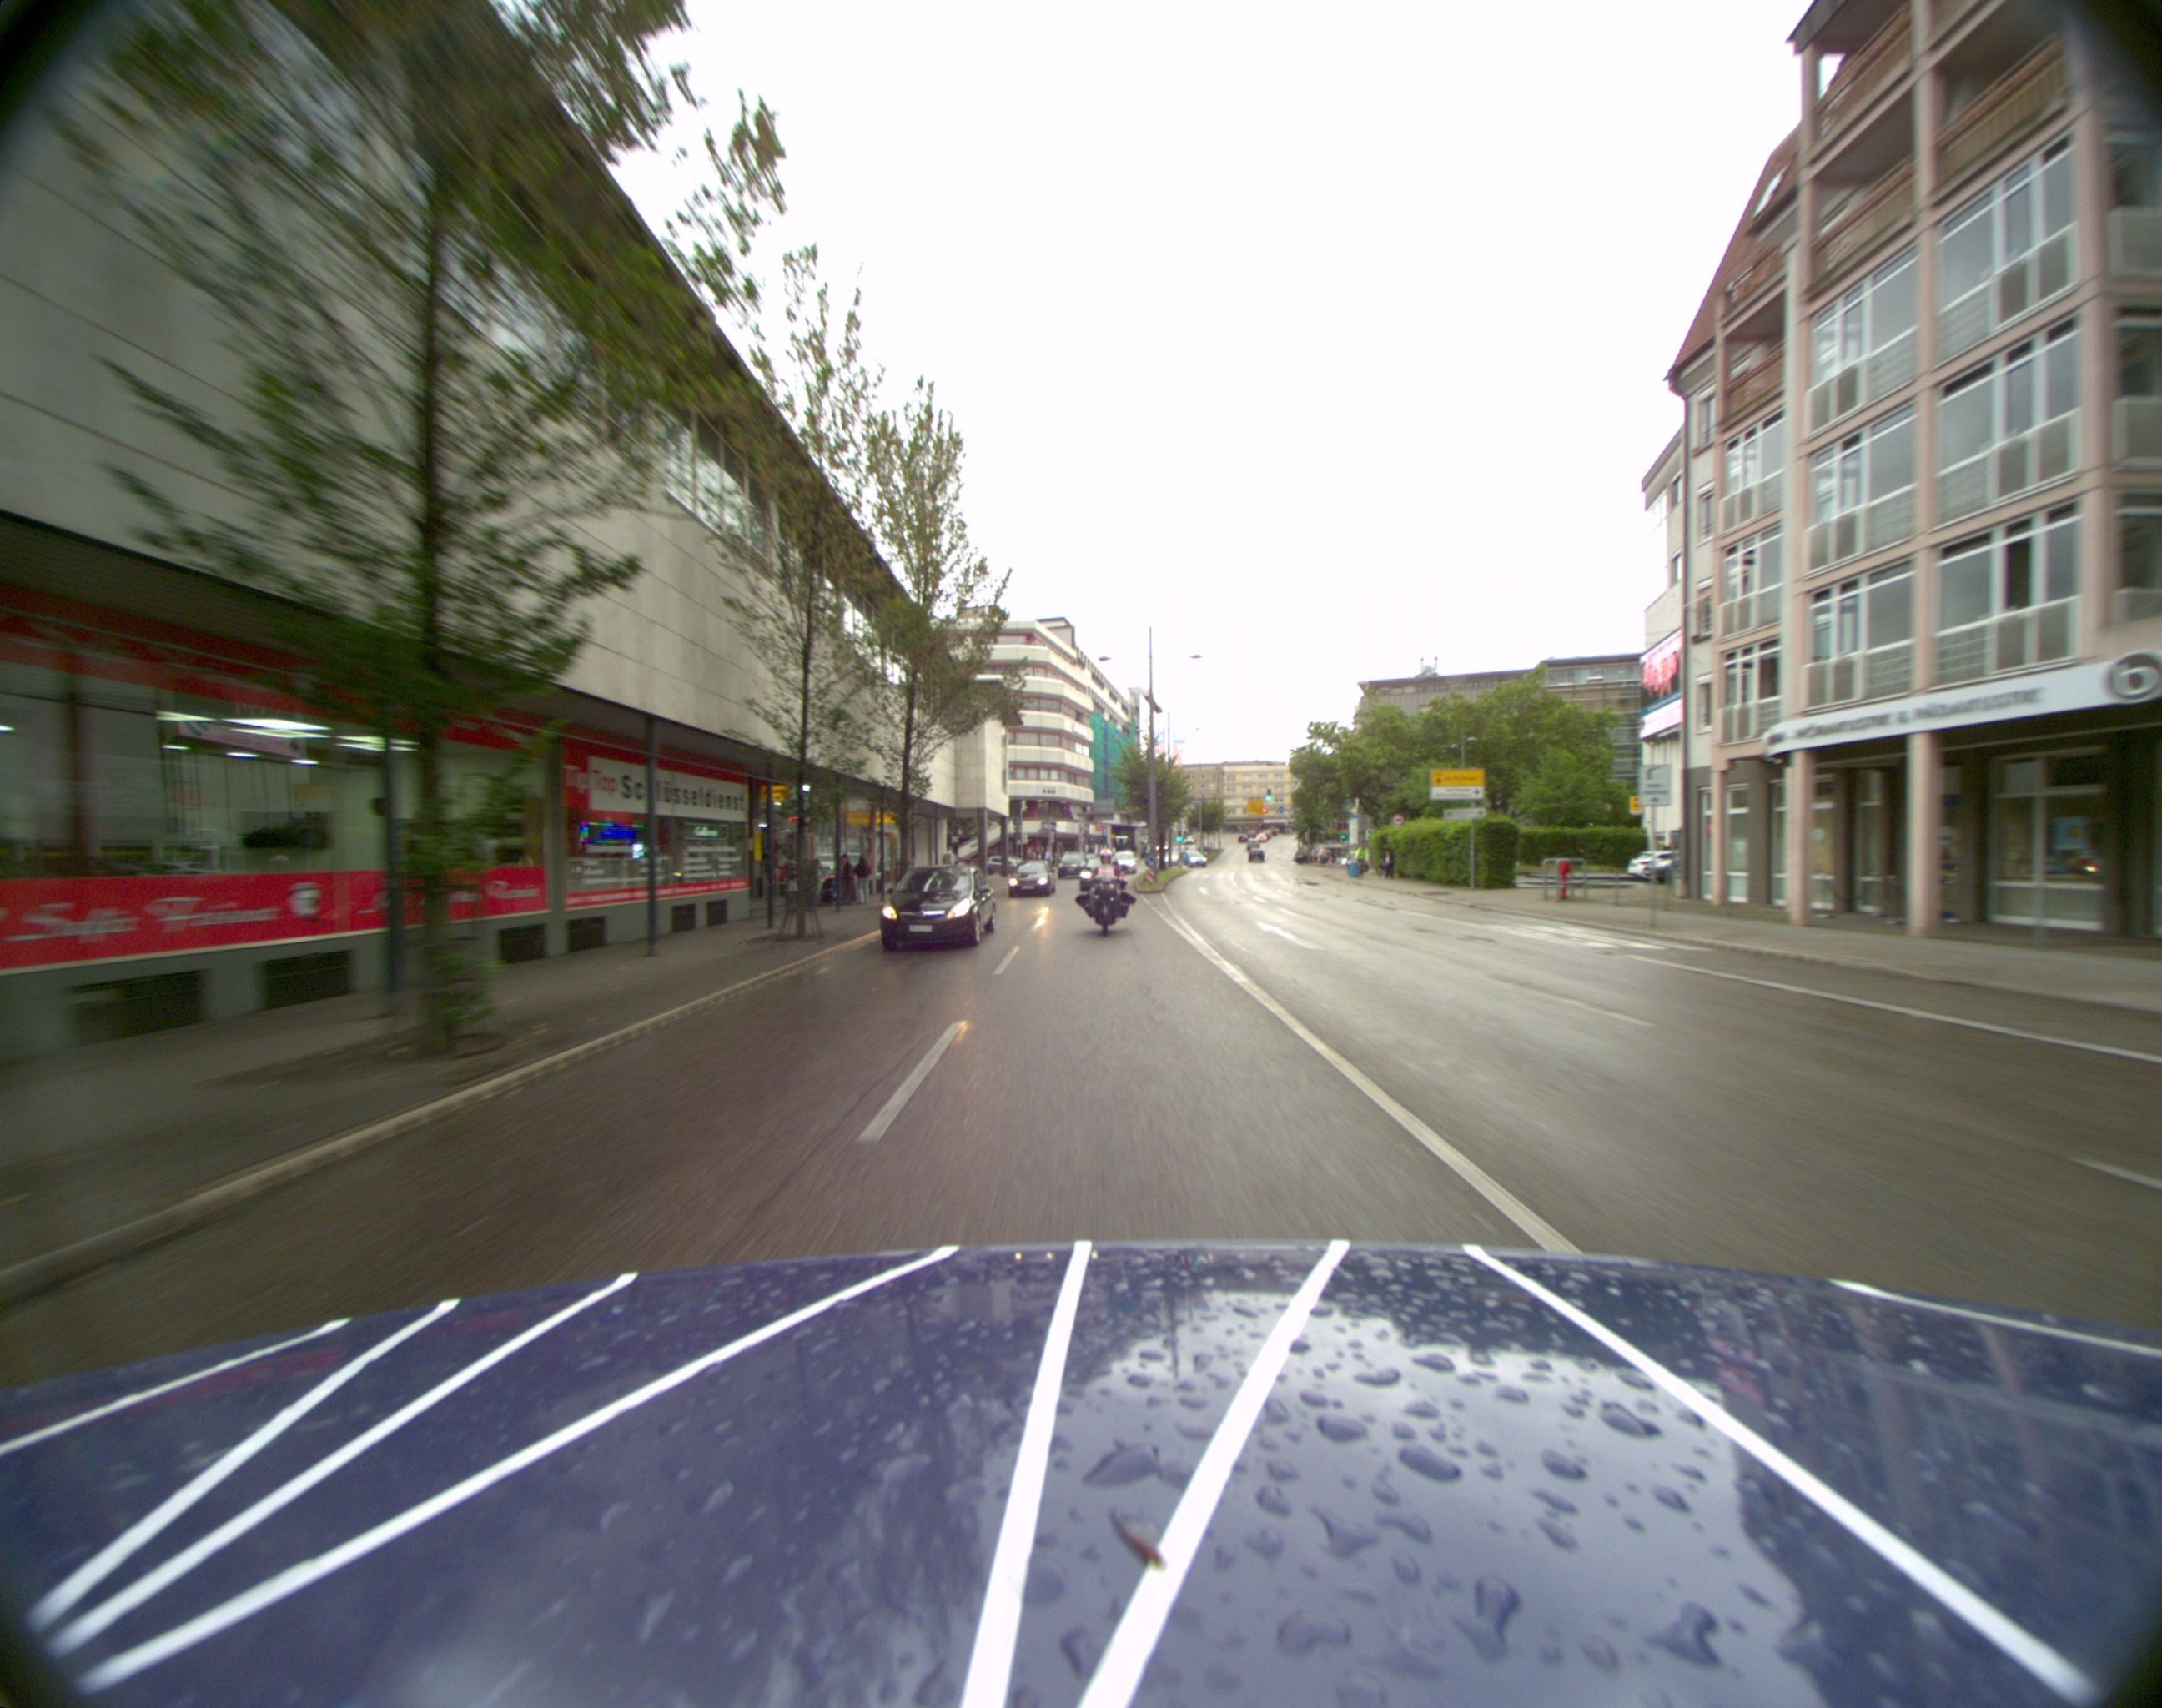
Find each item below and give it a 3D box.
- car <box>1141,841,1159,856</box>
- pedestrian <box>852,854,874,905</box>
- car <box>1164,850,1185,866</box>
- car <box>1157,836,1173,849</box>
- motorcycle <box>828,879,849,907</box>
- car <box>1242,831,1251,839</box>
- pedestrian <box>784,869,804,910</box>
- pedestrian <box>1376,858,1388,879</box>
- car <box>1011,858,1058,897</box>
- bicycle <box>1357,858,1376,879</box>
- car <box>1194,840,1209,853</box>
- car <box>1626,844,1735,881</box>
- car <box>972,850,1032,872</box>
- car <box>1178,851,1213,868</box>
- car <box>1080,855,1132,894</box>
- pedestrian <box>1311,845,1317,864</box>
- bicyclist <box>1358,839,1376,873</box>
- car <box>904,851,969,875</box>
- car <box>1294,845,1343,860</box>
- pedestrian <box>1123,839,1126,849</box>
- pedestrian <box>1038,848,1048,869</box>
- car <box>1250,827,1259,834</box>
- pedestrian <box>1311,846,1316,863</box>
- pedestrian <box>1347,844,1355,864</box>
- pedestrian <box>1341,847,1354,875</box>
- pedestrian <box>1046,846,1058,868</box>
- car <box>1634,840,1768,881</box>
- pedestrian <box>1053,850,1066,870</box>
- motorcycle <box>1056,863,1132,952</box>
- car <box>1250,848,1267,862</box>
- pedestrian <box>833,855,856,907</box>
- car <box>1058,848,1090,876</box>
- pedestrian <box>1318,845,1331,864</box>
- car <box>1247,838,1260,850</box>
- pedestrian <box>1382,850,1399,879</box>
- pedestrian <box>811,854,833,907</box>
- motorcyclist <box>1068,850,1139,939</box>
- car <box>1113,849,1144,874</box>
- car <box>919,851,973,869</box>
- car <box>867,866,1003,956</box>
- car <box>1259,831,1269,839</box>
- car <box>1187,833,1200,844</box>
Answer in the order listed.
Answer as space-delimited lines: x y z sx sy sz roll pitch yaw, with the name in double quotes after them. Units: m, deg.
9.375 -0.775 103.323 1.830 1.727 4.002 0 4 15 "car"
-6.755 0.785 23.518 0.510 1.557 0.429 -1 1 -37 "pedestrian"
9.435 0.403 76.248 1.768 1.401 4.002 -2 2 11 "car"
12.857 -1.810 116.164 1.830 1.727 4.002 0 4 15 "car"
-7.297 1.174 22.914 0.325 0.799 0.920 0 0 1 "motorcycle"
29.983 -3.415 137.647 1.625 1.547 3.662 0 1 12 "car"
-8.173 0.997 21.638 0.431 1.129 0.508 -1 1 -34 "pedestrian"
16.560 0.815 41.843 0.469 1.144 0.502 -1 1 5 "pedestrian"
-1.860 0.919 31.094 1.596 1.432 3.627 -1 0 1 "car"
16.058 0.780 42.722 0.651 1.104 2.059 -1 1 11 "bicycle"
18.014 -1.105 113.123 1.830 1.727 4.002 0 4 15 "car"
27.547 0.386 35.016 3.592 1.567 1.602 -2 1 19 "car"
-5.911 0.502 56.631 3.989 1.468 2.003 -1 2 32 "car"
10.220 0.494 68.340 1.702 1.465 3.685 0 0 -17 "car"
1.177 0.839 33.237 1.937 1.511 4.470 -1 0 6 "car"
23.242 0.034 75.795 0.447 1.827 0.676 -1 4 9 "pedestrian"
16.023 0.107 42.578 0.793 1.879 0.954 -1 1 11 "bicyclist"
-11.250 0.665 59.419 4.604 1.750 1.856 -1 2 4 "car"
24.827 -0.184 79.551 1.937 1.388 4.413 -2 3 -44 "car"
6.668 -1.529 116.350 0.429 1.481 0.523 -2 4 -14 "pedestrian"
-3.251 0.389 64.957 0.623 1.764 0.678 -1 4 20 "pedestrian"
35.286 -4.794 154.176 1.716 1.471 3.960 1 3 13 "car"
23.429 0.040 76.714 0.412 1.753 0.677 -1 0 12 "pedestrian"
24.637 0.027 69.430 0.527 1.754 0.593 -4 2 12 "pedestrian"
16.668 0.420 47.502 0.630 1.754 0.528 -1 1 0 "pedestrian"
-2.474 0.282 64.954 0.623 1.837 0.848 -1 4 20 "pedestrian"
26.597 0.272 32.783 4.053 1.567 1.957 -2 1 23 "car"
-1.972 0.525 70.511 0.896 1.770 0.806 5 5 16 "pedestrian"
0.312 0.954 14.660 0.831 1.479 2.868 1 1 14 "motorcycle"
19.957 0.103 85.581 1.760 1.412 4.099 1 2 13 "car"
-7.134 0.810 22.950 0.510 1.557 0.429 -1 1 -43 "pedestrian"
-0.421 0.473 50.438 1.735 1.669 4.249 -2 1 4 "car"
23.683 0.046 73.999 0.861 1.896 0.826 -2 2 -11 "pedestrian"
25.744 -1.466 113.663 1.830 1.726 4.313 0 2 12 "car"
16.979 0.557 41.684 0.716 1.550 0.565 -1 1 4 "pedestrian"
-7.699 0.767 22.589 0.430 1.557 0.510 0 1 5 "pedestrian"
0.474 0.805 15.609 1.294 1.757 0.846 0 2 14 "motorcyclist"
3.488 0.536 55.645 1.630 1.731 3.604 0 1 14 "car"
-11.576 0.494 65.462 4.270 1.412 1.787 -1 1 1 "car"
-2.629 0.984 14.573 1.712 1.448 3.743 -1 0 2 "car"
33.418 -3.463 138.981 1.674 1.507 3.646 1 2 13 "car"
20.485 -2.889 138.545 1.830 1.727 4.002 0 4 15 "car"
